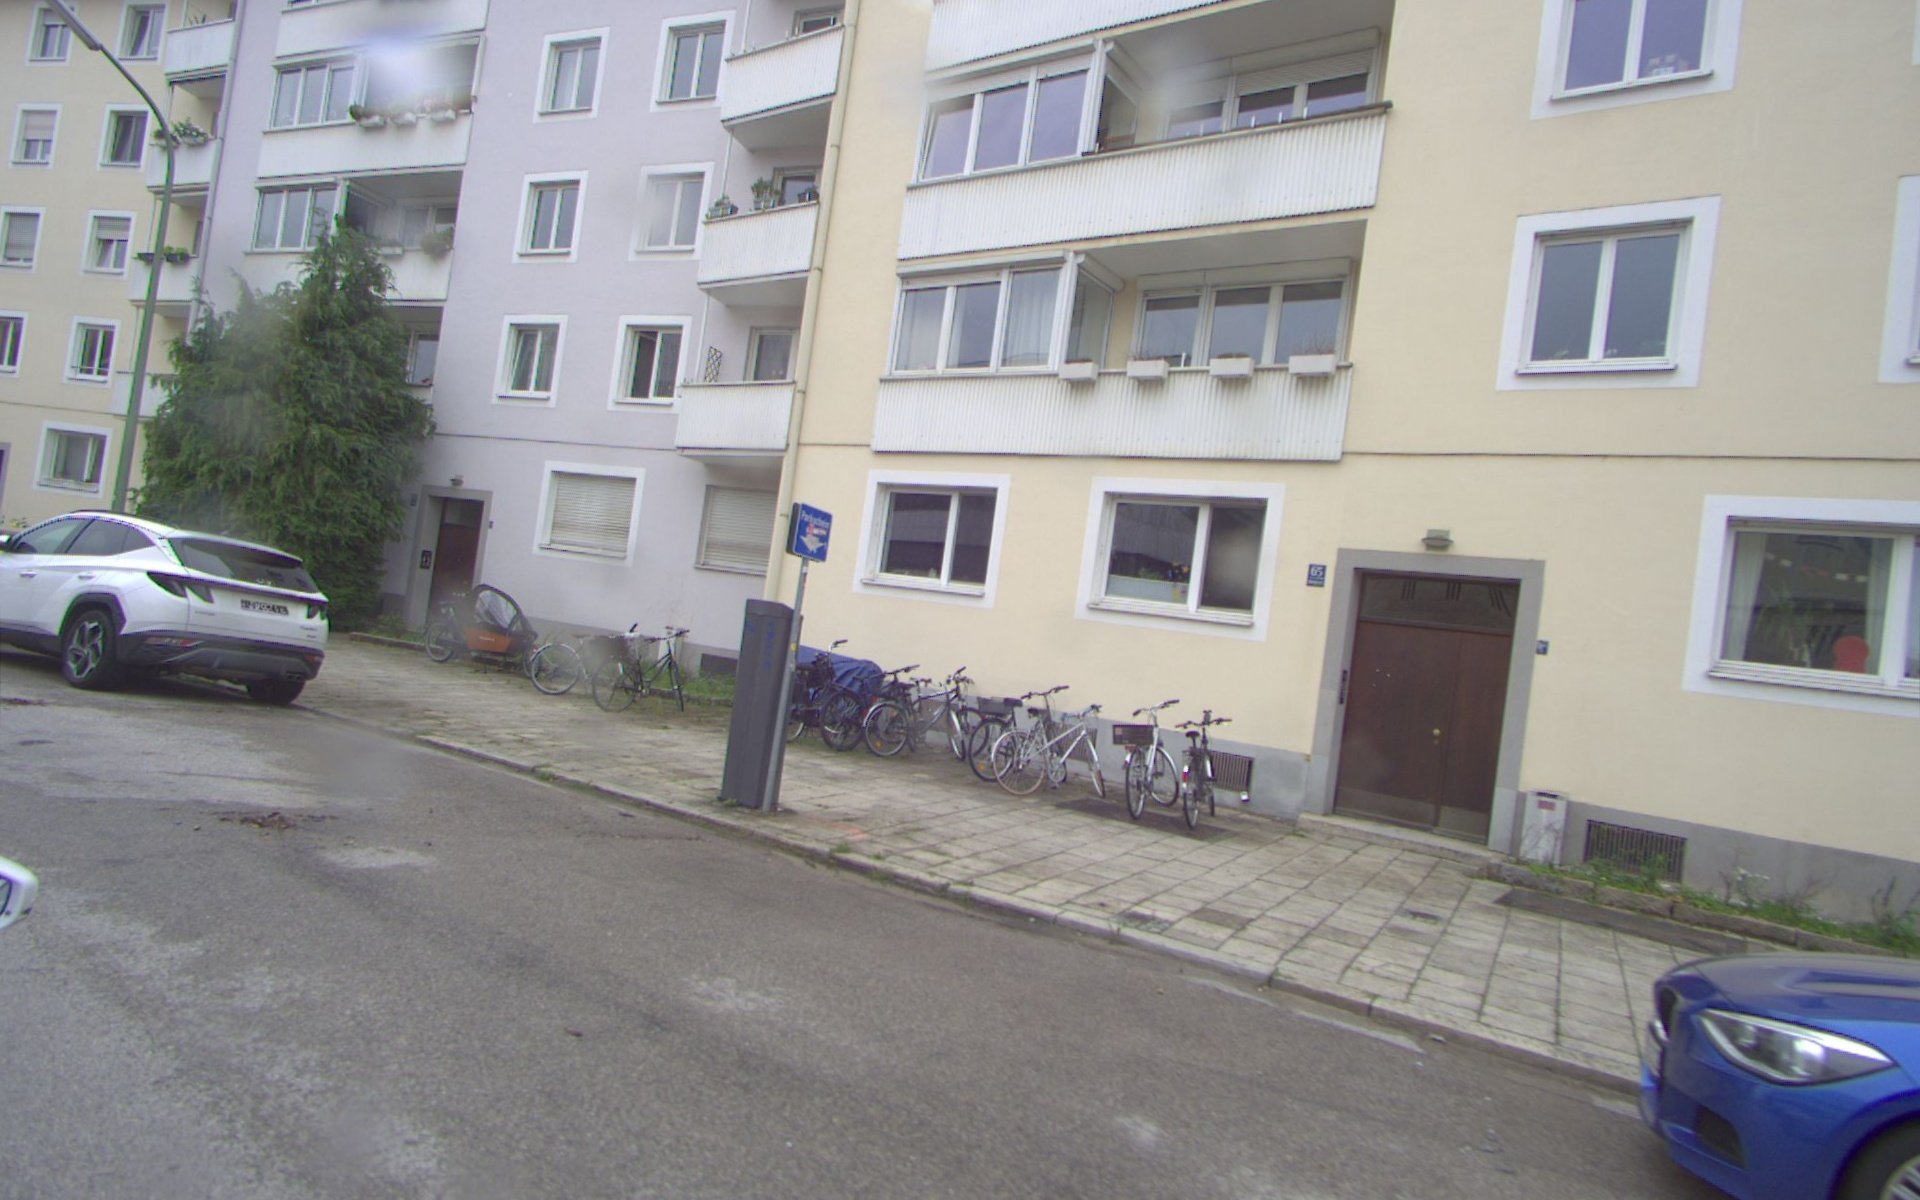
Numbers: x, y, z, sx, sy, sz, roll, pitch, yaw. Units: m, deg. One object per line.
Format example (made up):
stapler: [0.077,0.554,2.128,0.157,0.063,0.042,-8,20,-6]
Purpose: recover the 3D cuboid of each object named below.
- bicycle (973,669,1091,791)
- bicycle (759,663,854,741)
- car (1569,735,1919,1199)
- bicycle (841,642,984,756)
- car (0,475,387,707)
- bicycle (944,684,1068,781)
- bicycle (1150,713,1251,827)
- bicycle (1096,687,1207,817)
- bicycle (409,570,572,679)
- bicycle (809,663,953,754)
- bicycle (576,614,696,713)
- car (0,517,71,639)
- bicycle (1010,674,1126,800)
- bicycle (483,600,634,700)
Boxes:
bicycle: [0.853,1.464,11.408,0.425,1.236,1.702,7,-1,33]
bicycle: [-1.949,1.282,12.970,0.436,0.868,1.472,7,1,22]
car: [4.362,1.513,2.661,4.552,1.457,1.836,7,-4,32]
bicycle: [-0.559,1.235,12.316,1.693,1.236,0.428,9,-1,-39]
car: [-8.485,-0.164,10.278,4.528,1.695,2.036,8,-4,22]
bicycle: [0.558,1.536,11.721,0.474,1.002,1.497,7,0,43]
bicycle: [2.547,1.740,10.514,0.362,1.048,1.702,7,-1,33]
bicycle: [2.090,1.601,10.795,0.425,1.236,1.702,7,-1,33]
bicycle: [-7.403,0.363,15.844,2.425,1.385,0.744,7,1,21]
bicycle: [-0.968,1.363,12.539,1.688,0.953,0.429,9,-1,-32]
bicycle: [-4.326,0.832,13.567,0.567,1.172,1.833,7,0,13]
car: [-13.015,-0.502,12.144,3.733,1.363,1.667,7,-4,19]
bicycle: [1.233,1.501,11.164,0.425,1.236,1.702,7,-1,33]
bicycle: [-5.672,0.692,14.271,1.798,1.172,0.578,7,1,0]
